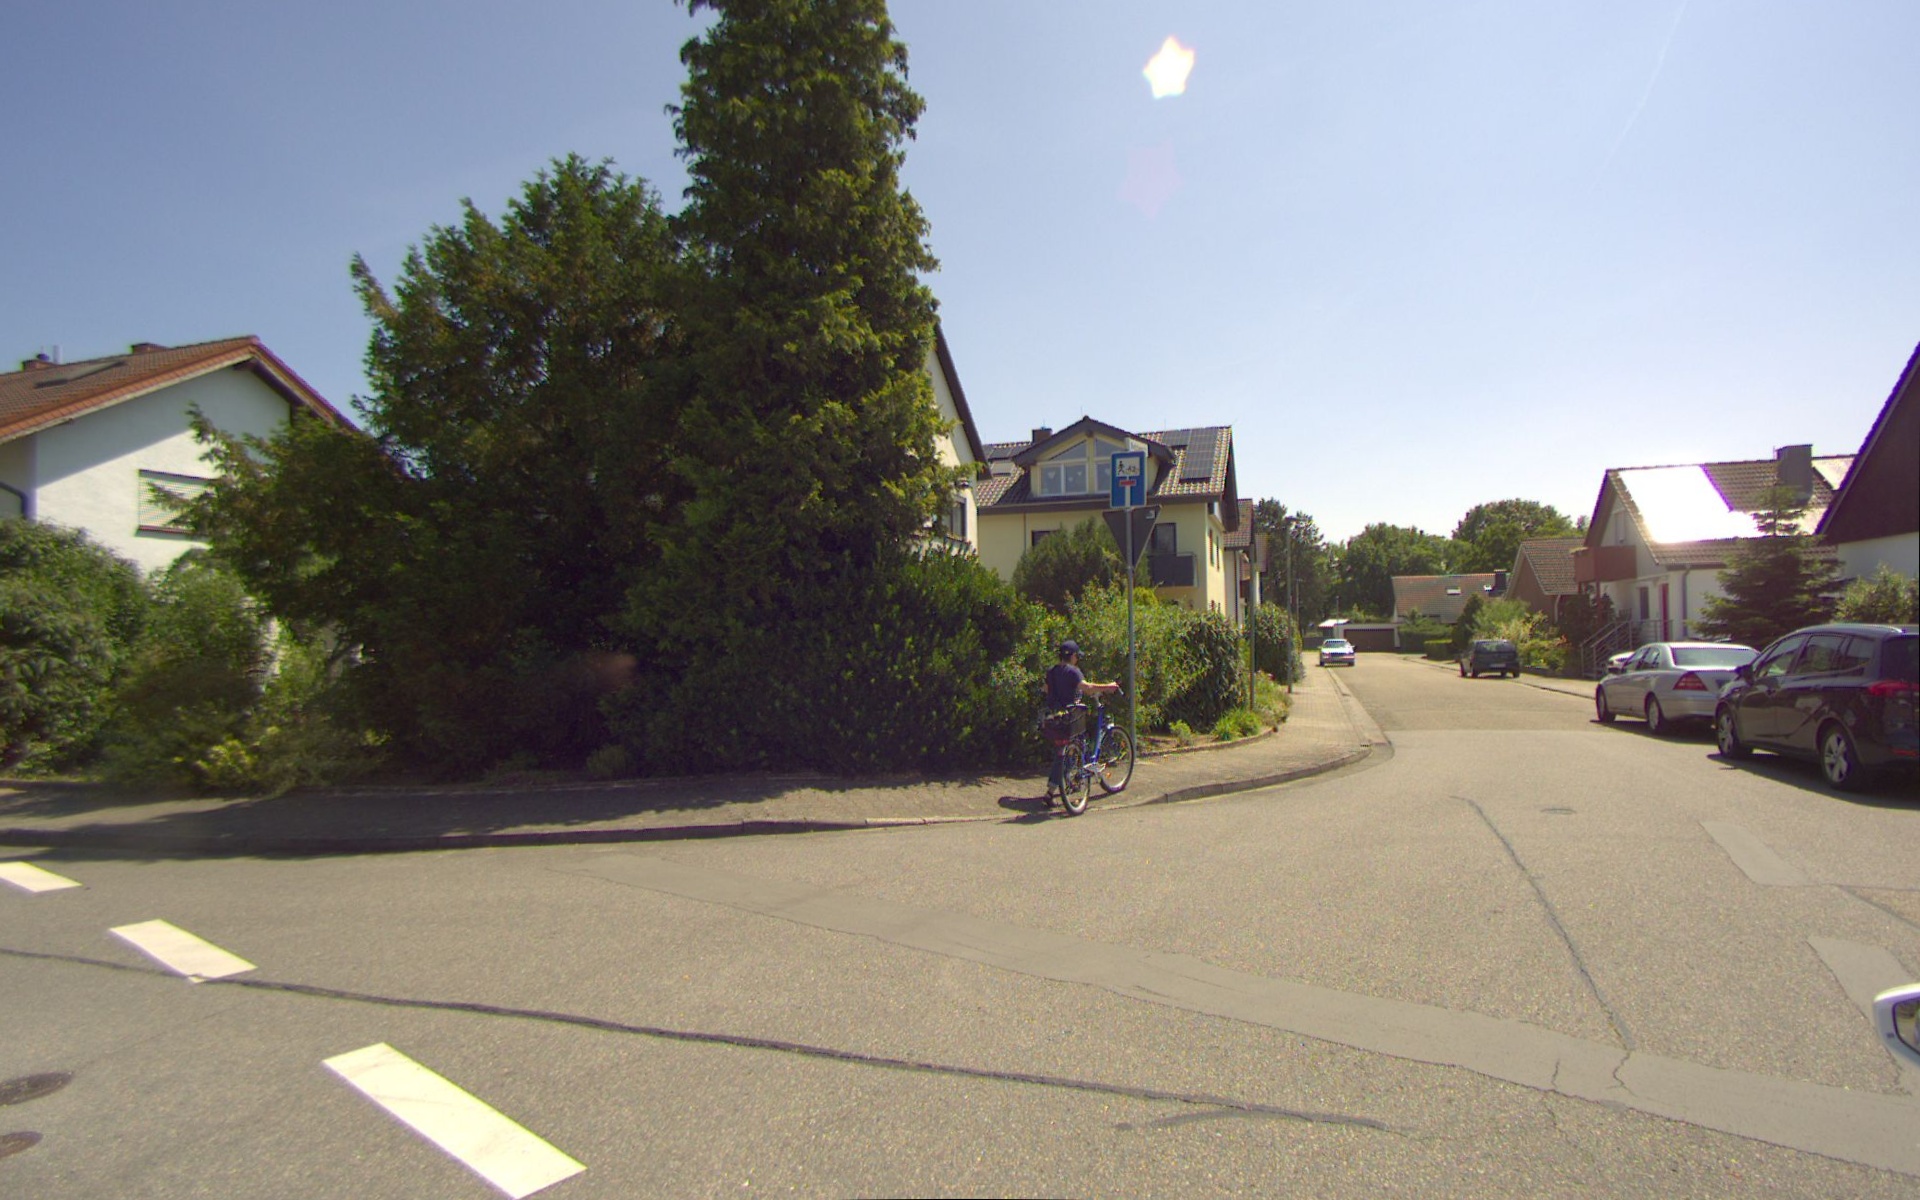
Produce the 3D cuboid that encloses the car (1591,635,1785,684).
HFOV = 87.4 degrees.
[{"bbox_3d":[22.308,1.811,31.011,4.464,1.415,1.951,-1,-2,21],"label":"car"}]

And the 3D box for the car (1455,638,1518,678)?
[{"bbox_3d":[20.144,2.192,38.568,1.623,1.459,3.652,-1,-2,20],"label":"car"}]

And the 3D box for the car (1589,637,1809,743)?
[{"bbox_3d":[11.786,1.352,16.368,1.659,1.479,4.337,-1,-2,20],"label":"car"}]

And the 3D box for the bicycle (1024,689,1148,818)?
[{"bbox_3d":[1.214,1.373,9.369,0.435,0.976,1.845,-1,-2,31],"label":"bicycle"}]

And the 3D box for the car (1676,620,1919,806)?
[{"bbox_3d":[9.890,1.076,11.132,1.931,1.684,4.683,-1,-2,20],"label":"car"}]

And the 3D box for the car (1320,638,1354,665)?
[{"bbox_3d":[20.850,2.851,55.678,1.671,1.411,4.337,-1,-2,20],"label":"car"}]

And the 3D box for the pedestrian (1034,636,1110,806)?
[{"bbox_3d":[1.059,1.103,9.444,0.495,1.520,0.611,-1,-2,30],"label":"pedestrian"}]
